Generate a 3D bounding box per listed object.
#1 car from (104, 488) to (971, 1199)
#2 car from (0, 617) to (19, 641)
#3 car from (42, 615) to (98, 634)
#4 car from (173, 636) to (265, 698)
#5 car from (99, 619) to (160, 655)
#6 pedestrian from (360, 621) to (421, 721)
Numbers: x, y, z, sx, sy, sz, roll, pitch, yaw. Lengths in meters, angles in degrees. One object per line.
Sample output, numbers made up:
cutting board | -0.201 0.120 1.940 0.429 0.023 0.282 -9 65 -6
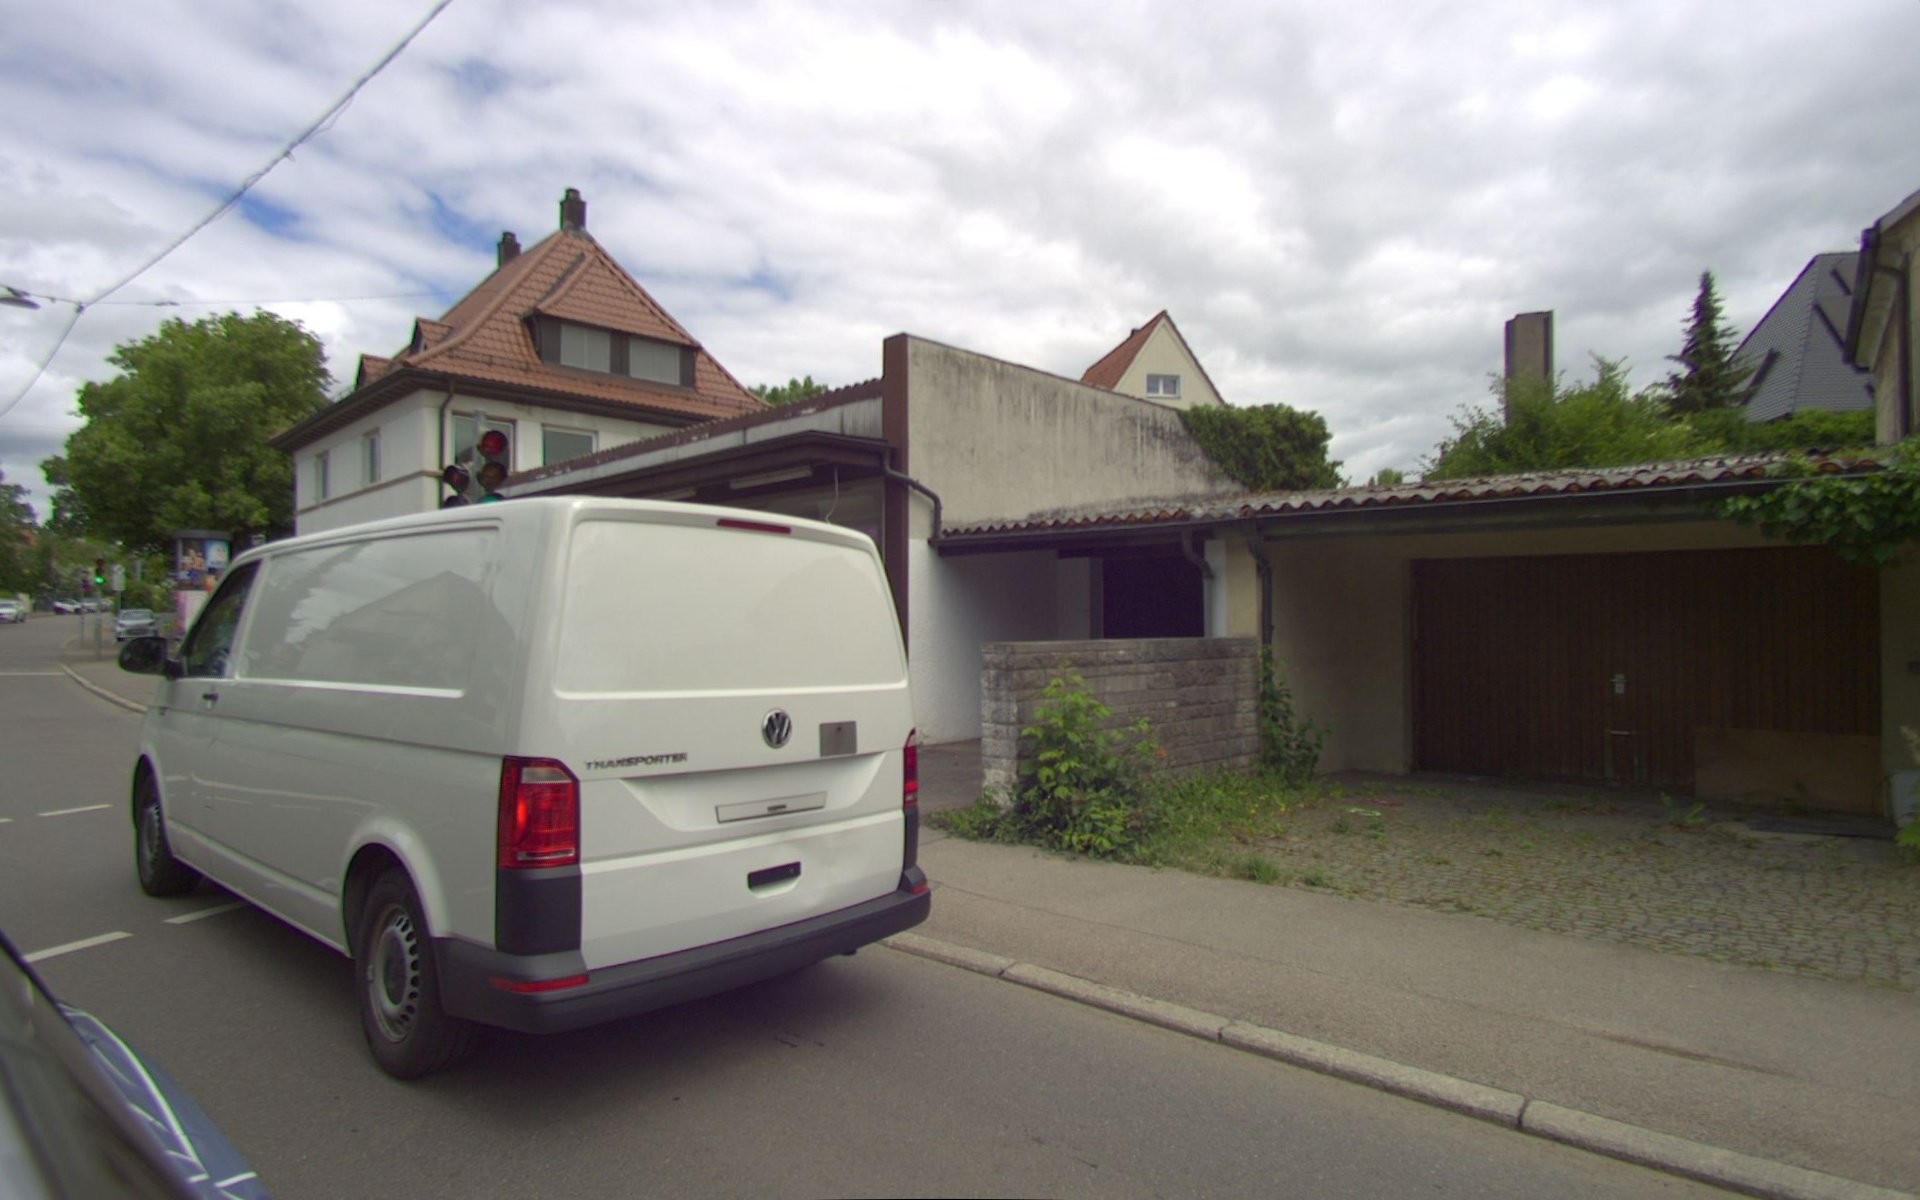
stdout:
car | -2.387 0.704 4.802 4.831 1.930 1.860 -1 0 41
car | -73.005 2.206 76.745 3.998 1.709 1.973 -1 0 41
car | -87.606 2.347 99.662 3.934 1.752 2.005 -1 0 -36
car | -19.073 1.666 25.989 1.795 1.362 3.398 -1 0 -38
car | -42.089 1.826 51.279 3.998 1.690 1.748 -1 0 41
pedestrian | -10.358 1.265 18.420 0.604 1.758 0.811 -1 0 42
